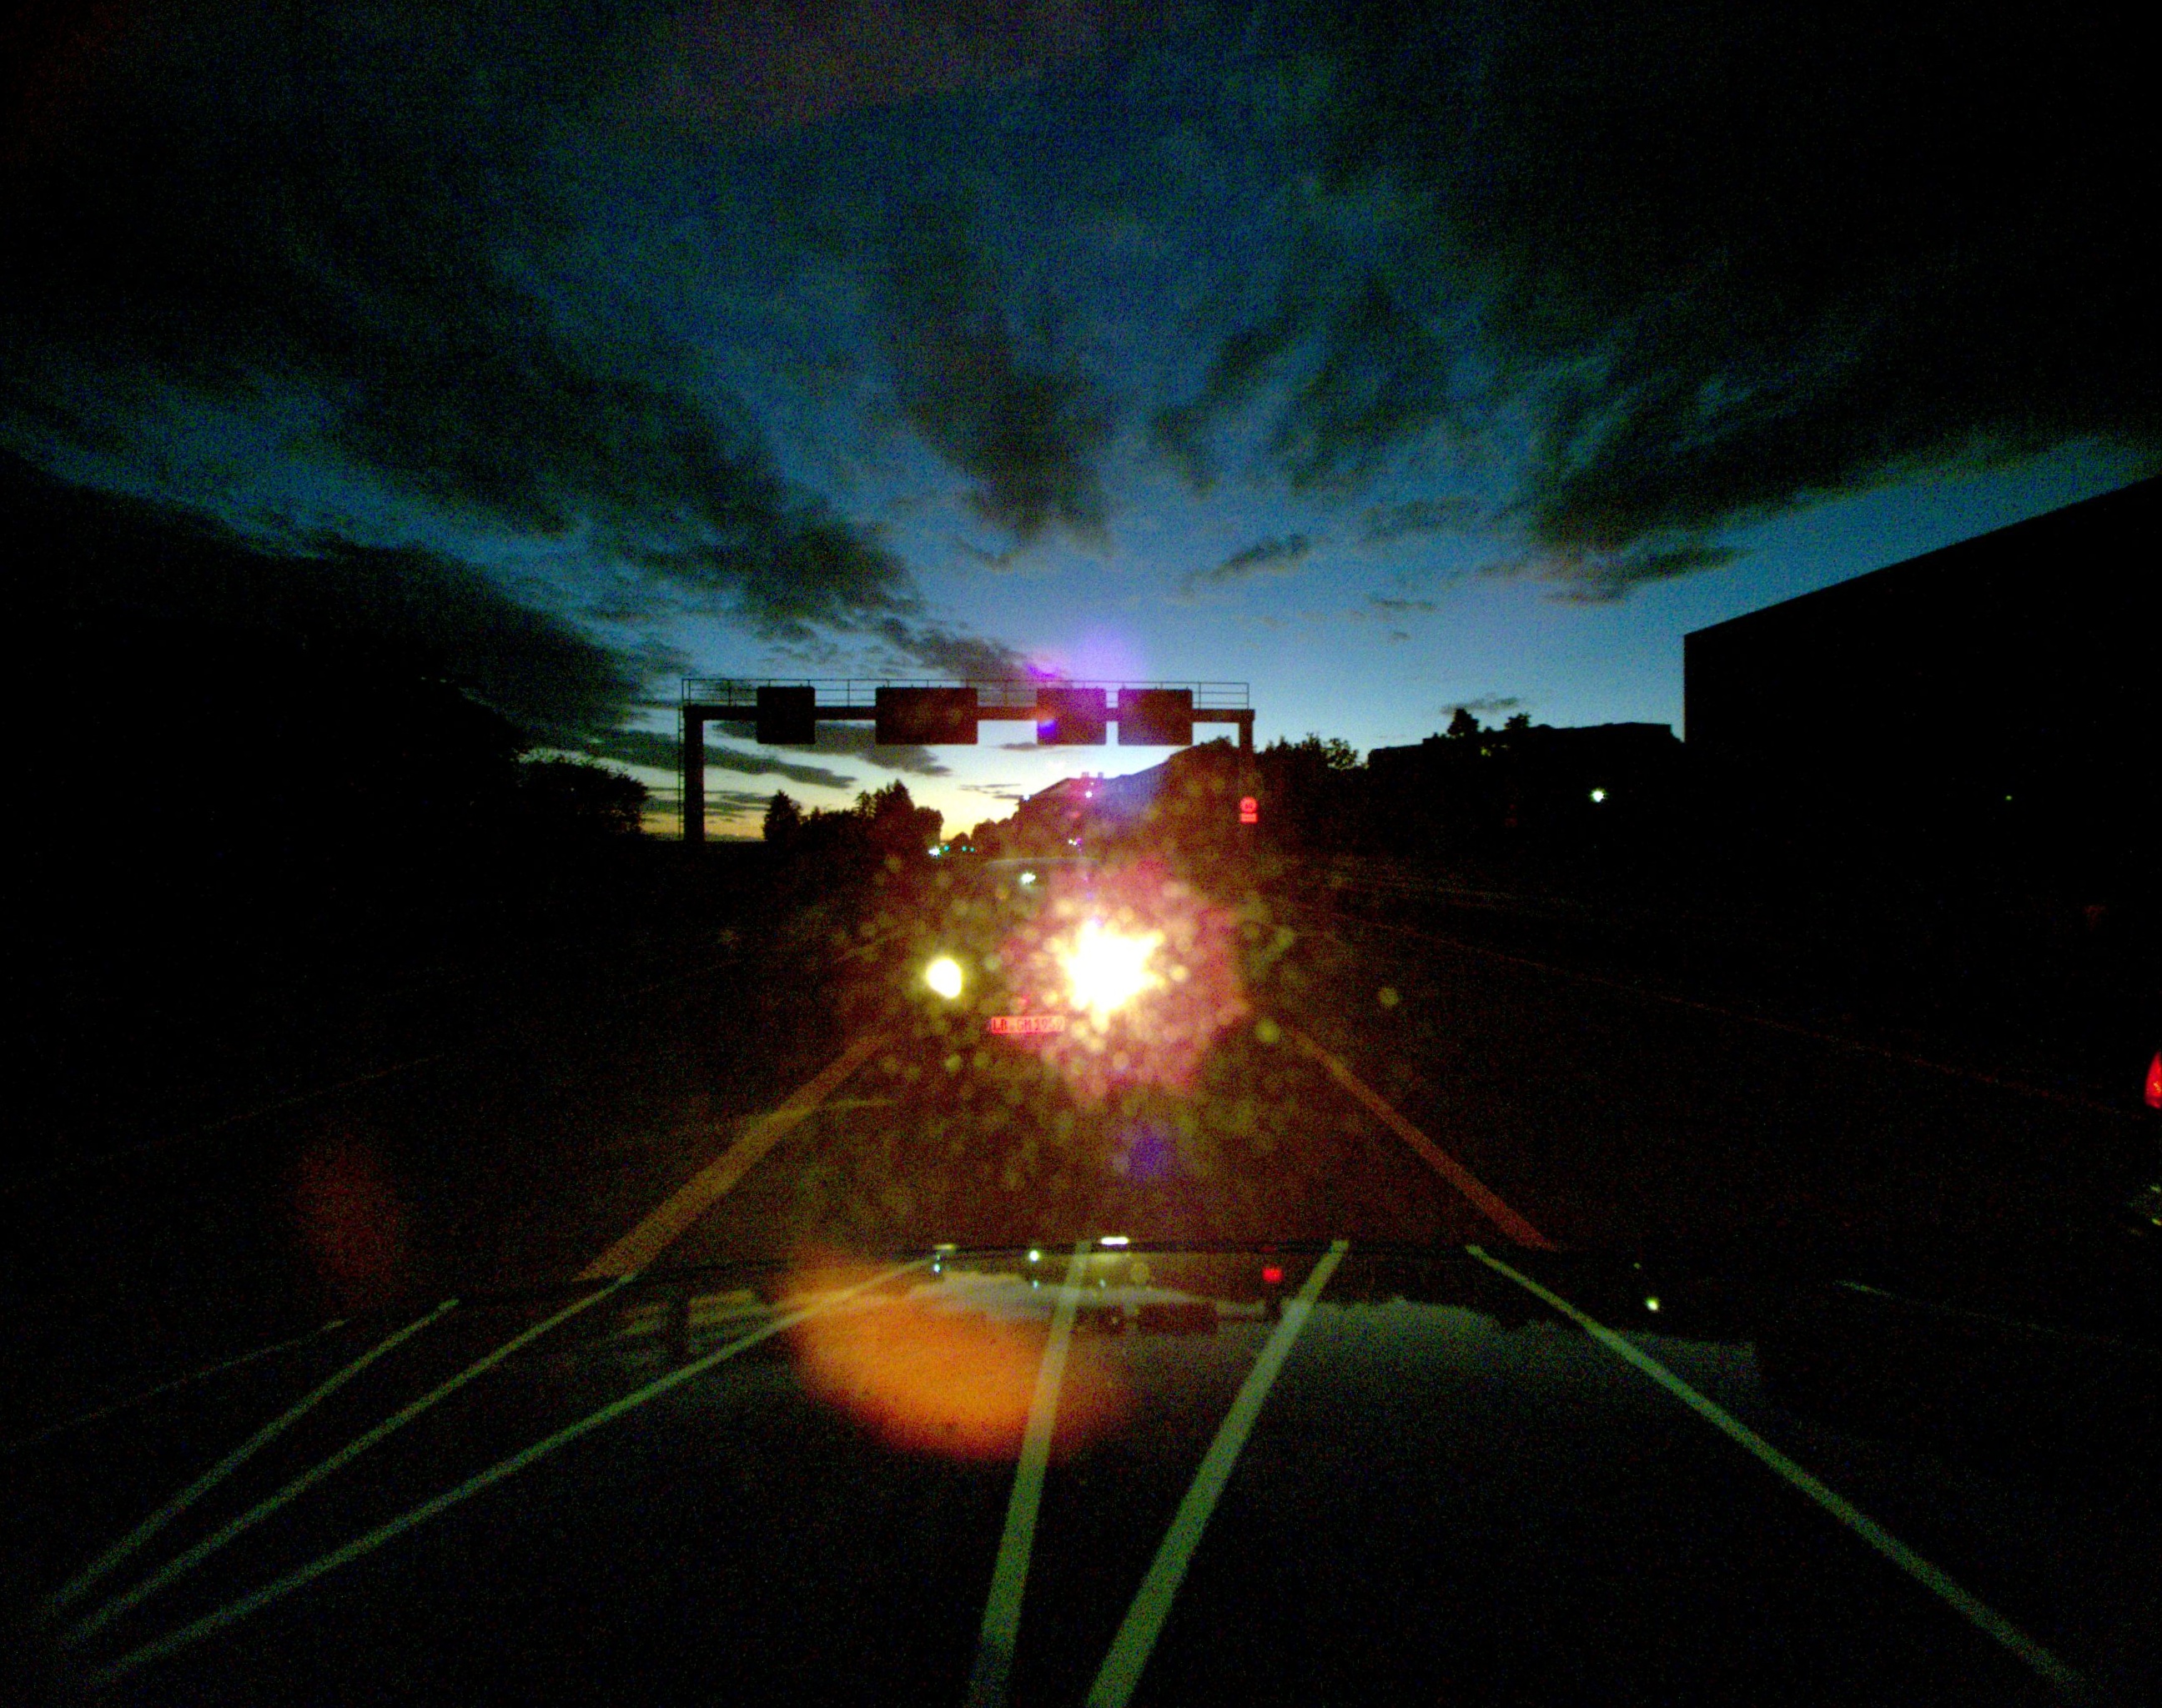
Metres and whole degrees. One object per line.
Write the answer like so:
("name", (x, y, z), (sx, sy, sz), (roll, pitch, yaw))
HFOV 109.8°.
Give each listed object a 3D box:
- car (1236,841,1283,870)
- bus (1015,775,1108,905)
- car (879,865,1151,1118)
("car", (9.475, 0.083, 40.672), (1.761, 1.435, 4.111), (-1, 0, 4))
("bus", (-0.747, -0.467, 28.837), (2.614, 3.768, 12.272), (-2, 1, -2))
("car", (-0.311, 0.901, 6.658), (1.669, 1.472, 3.777), (-2, 0, 3))
